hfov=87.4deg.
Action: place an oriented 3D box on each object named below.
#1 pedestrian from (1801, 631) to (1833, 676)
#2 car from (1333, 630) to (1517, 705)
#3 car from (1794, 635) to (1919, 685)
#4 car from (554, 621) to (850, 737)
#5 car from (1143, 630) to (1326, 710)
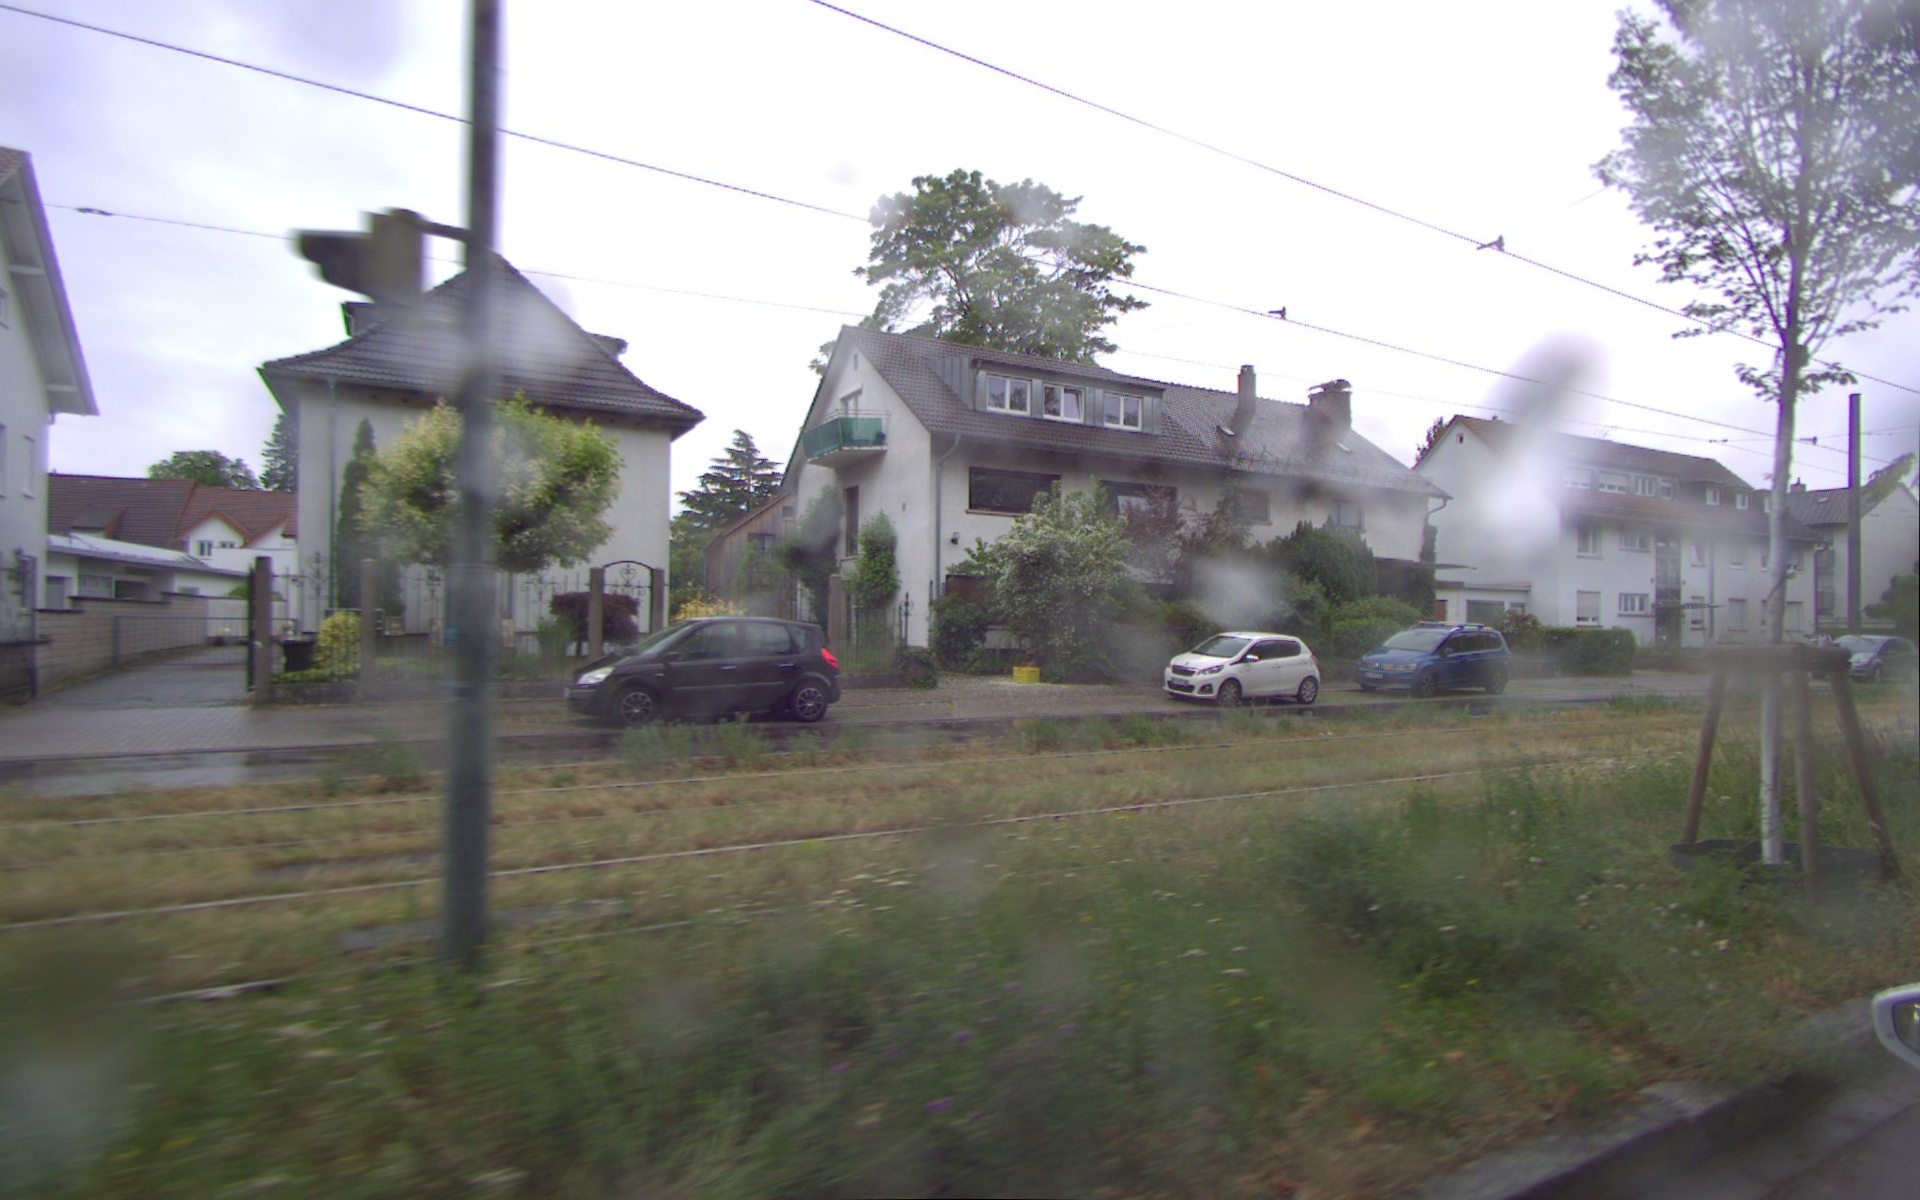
[{"bbox_3d":[34.545,2.162,40.492,0.844,1.778,0.699,1,-2,-28],"label":"pedestrian"},{"bbox_3d":[11.570,1.607,24.954,4.360,1.635,1.984,1,1,-30],"label":"car"},{"bbox_3d":[32.135,2.094,35.984,4.462,1.602,1.984,1,1,-30],"label":"car"},{"bbox_3d":[-4.036,1.152,15.813,4.155,1.536,1.984,1,1,-30],"label":"car"},{"bbox_3d":[5.907,1.452,21.577,3.553,1.508,1.788,1,1,-30],"label":"car"}]
